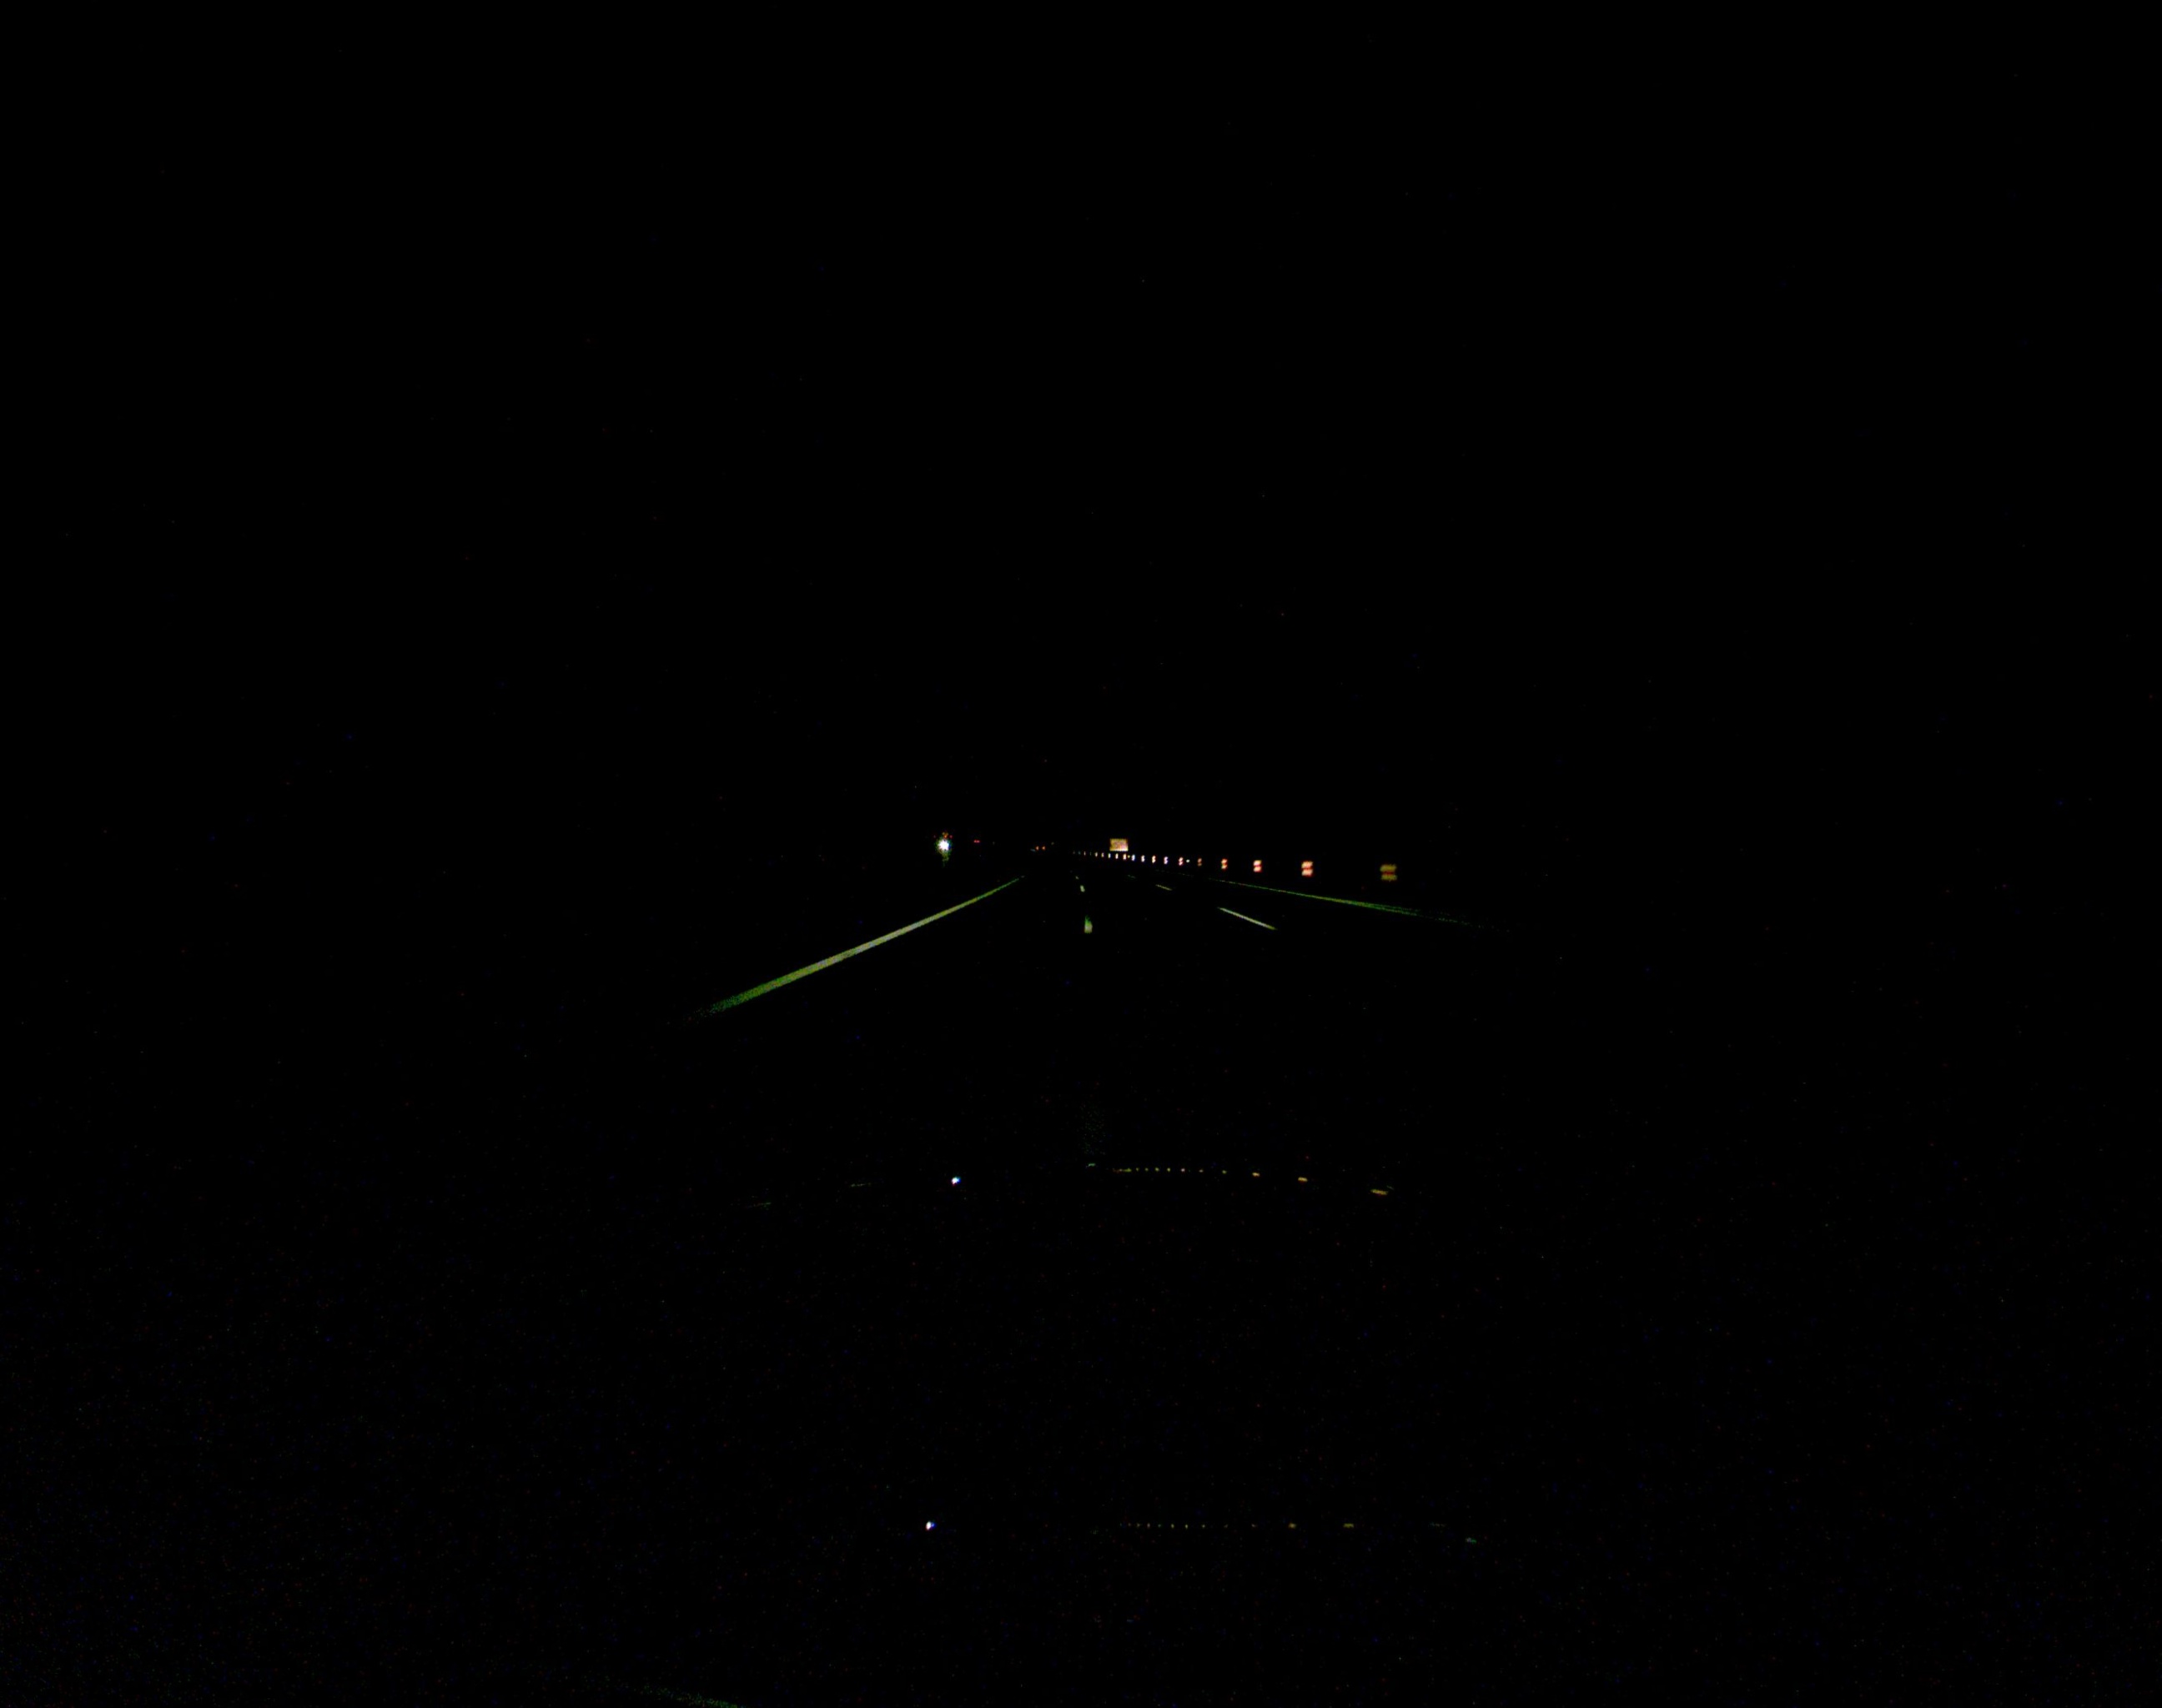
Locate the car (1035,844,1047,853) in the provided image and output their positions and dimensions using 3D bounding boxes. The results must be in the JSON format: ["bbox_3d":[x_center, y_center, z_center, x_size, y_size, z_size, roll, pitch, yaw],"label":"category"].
[{"bbox_3d":[-11.883,-1.739,241.900,2.528,2.553,6.030,1,1,-10],"label":"car"}]
